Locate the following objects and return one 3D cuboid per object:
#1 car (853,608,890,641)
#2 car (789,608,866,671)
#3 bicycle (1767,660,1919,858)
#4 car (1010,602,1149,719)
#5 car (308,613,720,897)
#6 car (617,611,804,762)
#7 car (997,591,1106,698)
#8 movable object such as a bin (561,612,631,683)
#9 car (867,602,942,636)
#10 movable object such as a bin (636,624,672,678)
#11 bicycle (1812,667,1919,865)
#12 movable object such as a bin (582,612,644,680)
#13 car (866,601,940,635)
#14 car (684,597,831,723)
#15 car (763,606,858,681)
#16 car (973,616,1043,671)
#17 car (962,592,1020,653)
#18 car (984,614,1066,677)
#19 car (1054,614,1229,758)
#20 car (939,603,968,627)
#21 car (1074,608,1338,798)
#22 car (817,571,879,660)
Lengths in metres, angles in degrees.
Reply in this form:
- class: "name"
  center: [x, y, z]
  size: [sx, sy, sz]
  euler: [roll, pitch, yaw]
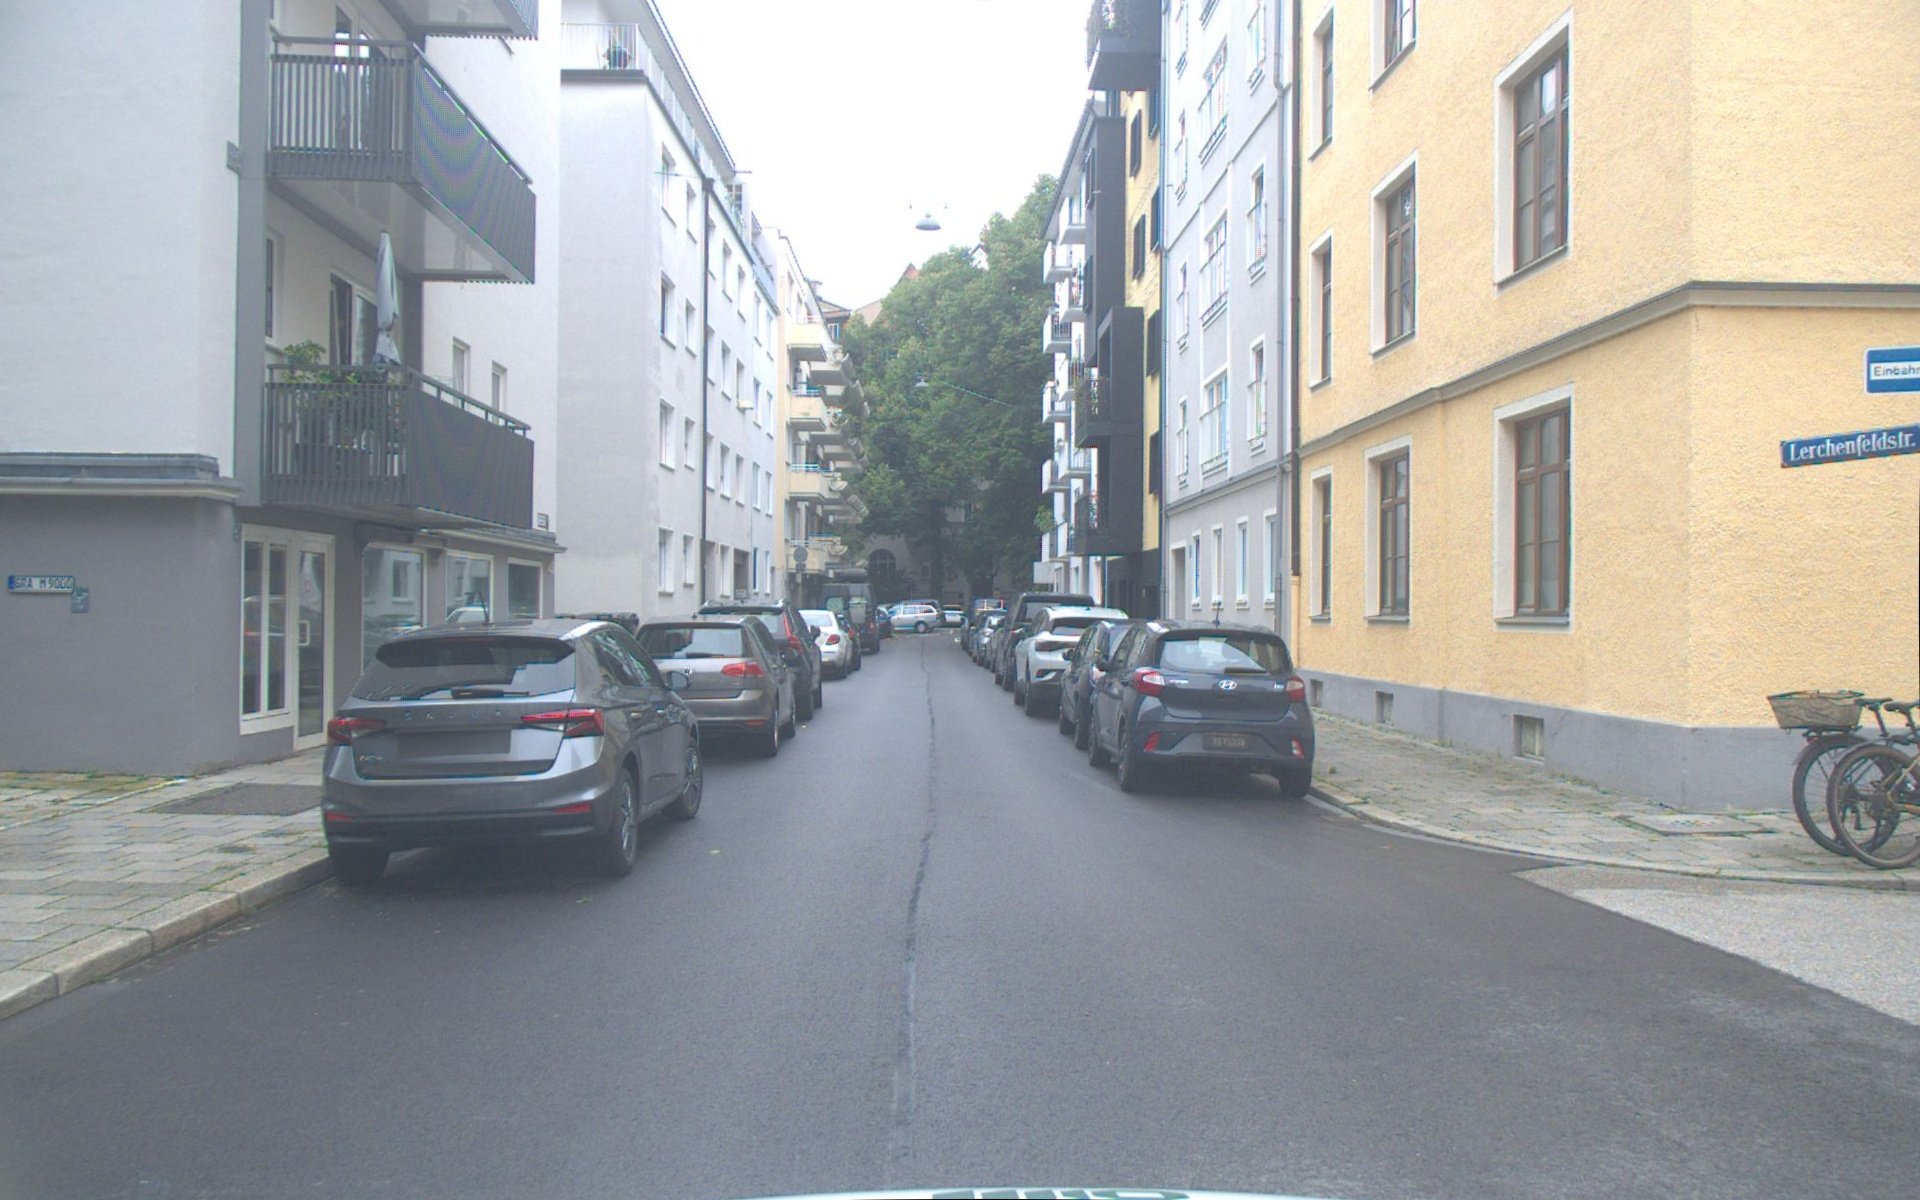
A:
- class: "car"
  center: [-4.036, 1.106, 75.743]
  size: [1.609, 1.408, 3.481]
  euler: [-2, 0, -2]
- class: "car"
  center: [-3.361, 0.973, 42.479]
  size: [1.741, 1.478, 4.044]
  euler: [-2, 0, -2]
- class: "bicycle"
  center: [6.213, 1.000, 10.694]
  size: [1.772, 1.194, 0.505]
  euler: [-1, 1, -4]
- class: "car"
  center: [1.777, 0.866, 25.878]
  size: [1.648, 1.595, 4.413]
  euler: [3, 0, -2]
- class: "car"
  center: [-2.655, 0.838, 10.756]
  size: [1.658, 1.467, 3.941]
  euler: [-1, 0, -1]
- class: "car"
  center: [-2.662, 0.870, 18.429]
  size: [1.659, 1.467, 3.975]
  euler: [-1, 0, -3]
- class: "car"
  center: [1.783, 0.846, 33.464]
  size: [1.792, 1.943, 4.414]
  euler: [2, 0, -2]
- class: "movable object such as a bin"
  center: [-7.337, 0.951, 33.402]
  size: [1.142, 1.360, 1.025]
  euler: [-2, -1, 1]
- class: "car"
  center: [-2.887, 0.983, 85.695]
  size: [3.808, 1.612, 1.647]
  euler: [-2, 0, -3]
- class: "movable object such as a bin"
  center: [-6.102, 1.022, 33.014]
  size: [0.638, 1.038, 0.584]
  euler: [2, 0, -8]
- class: "bicycle"
  center: [6.174, 1.005, 10.199]
  size: [1.679, 1.159, 0.374]
  euler: [-1, 1, -3]
- class: "movable object such as a bin"
  center: [-7.216, 0.946, 34.483]
  size: [1.026, 1.360, 0.993]
  euler: [-2, -1, 1]
- class: "car"
  center: [-3.040, 0.941, 87.663]
  size: [3.808, 1.612, 1.647]
  euler: [-2, 0, -3]
- class: "car"
  center: [-2.873, 0.806, 24.249]
  size: [1.741, 1.658, 4.413]
  euler: [-1, 0, -2]
- class: "car"
  center: [-3.304, 0.919, 37.293]
  size: [1.741, 1.513, 4.518]
  euler: [-2, 0, -1]
- class: "car"
  center: [1.414, 1.285, 50.165]
  size: [1.793, 1.479, 4.413]
  euler: [3, 0, -2]
- class: "car"
  center: [1.083, 0.810, 60.028]
  size: [1.793, 2.034, 4.413]
  euler: [3, 0, -2]
- class: "car"
  center: [1.693, 1.180, 44.310]
  size: [1.793, 1.479, 4.413]
  euler: [3, 0, -2]
- class: "car"
  center: [2.137, 0.981, 20.395]
  size: [1.630, 1.495, 3.818]
  euler: [3, 0, -1]
- class: "car"
  center: [-0.421, 0.901, 102.816]
  size: [1.609, 1.408, 3.744]
  euler: [-2, 0, -2]
- class: "car"
  center: [2.224, 0.879, 16.072]
  size: [1.716, 1.495, 4.341]
  euler: [3, 0, -2]
- class: "car"
  center: [-3.814, 0.514, 57.003]
  size: [1.898, 2.851, 4.530]
  euler: [-2, 0, -2]
